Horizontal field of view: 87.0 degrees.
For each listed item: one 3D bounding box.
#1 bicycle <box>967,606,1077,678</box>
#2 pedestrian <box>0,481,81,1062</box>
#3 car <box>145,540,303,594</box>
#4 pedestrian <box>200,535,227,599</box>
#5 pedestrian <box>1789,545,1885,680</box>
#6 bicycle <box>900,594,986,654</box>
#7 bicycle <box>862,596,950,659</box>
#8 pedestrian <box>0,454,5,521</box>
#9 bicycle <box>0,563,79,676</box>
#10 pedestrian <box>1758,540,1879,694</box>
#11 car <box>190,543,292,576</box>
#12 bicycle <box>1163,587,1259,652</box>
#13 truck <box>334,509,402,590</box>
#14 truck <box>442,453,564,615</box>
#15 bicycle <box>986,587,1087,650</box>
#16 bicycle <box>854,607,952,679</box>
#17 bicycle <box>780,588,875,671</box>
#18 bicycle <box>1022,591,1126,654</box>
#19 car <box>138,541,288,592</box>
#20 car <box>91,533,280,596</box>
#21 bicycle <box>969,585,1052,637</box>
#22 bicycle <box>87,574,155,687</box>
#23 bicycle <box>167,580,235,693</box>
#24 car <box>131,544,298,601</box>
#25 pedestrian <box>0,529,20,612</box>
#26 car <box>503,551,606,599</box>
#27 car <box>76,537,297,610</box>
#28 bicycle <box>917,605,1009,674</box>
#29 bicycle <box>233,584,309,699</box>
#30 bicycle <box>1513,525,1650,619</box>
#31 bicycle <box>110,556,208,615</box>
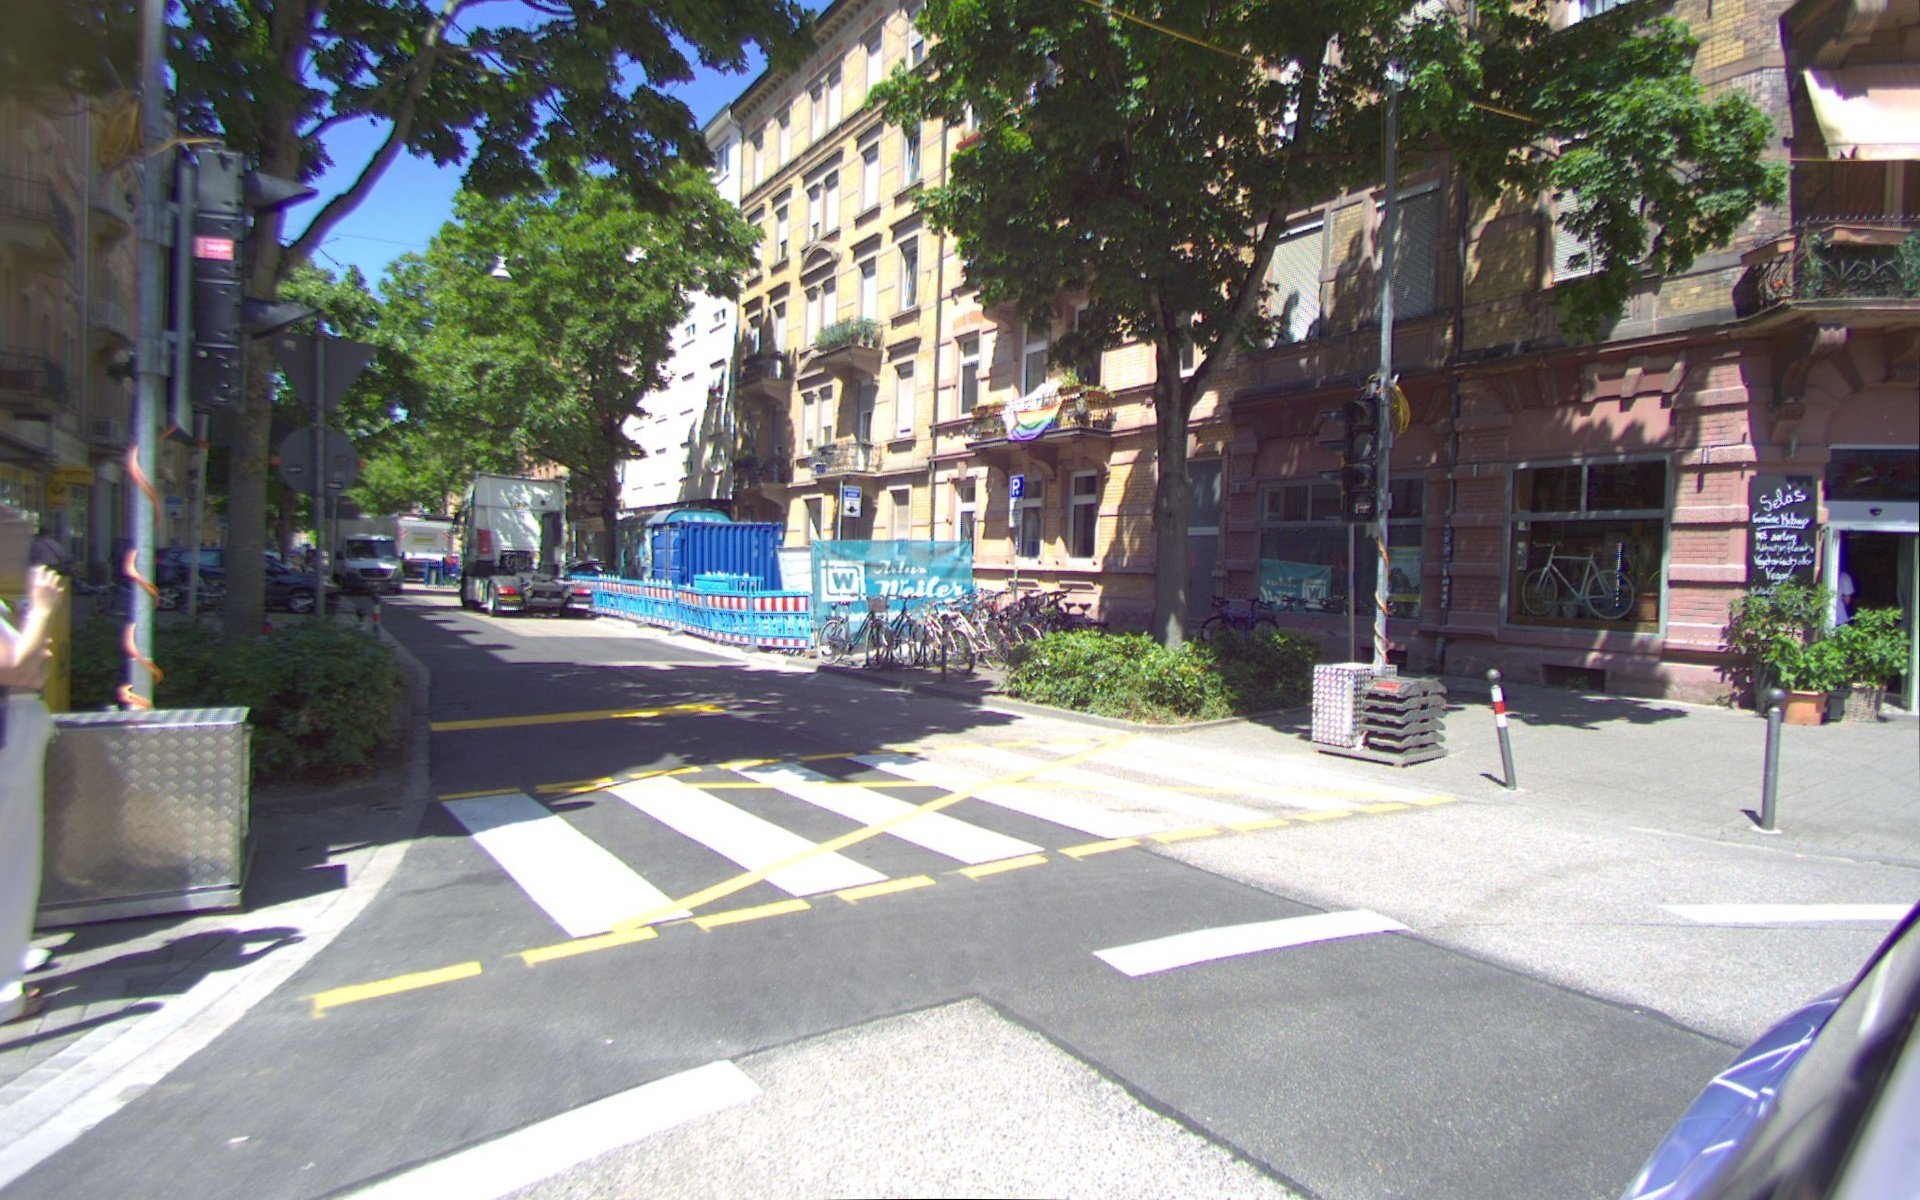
[{"bbox_3d":[0.869,0.585,14.929,0.499,0.882,2.077,1,2,-31],"label":"bicycle"},{"bbox_3d":[-3.040,0.471,3.084,0.415,1.666,0.702,5,0,-43],"label":"pedestrian"},{"bbox_3d":[-22.568,-0.996,31.120,3.782,1.456,1.792,1,2,-38],"label":"car"},{"bbox_3d":[-18.926,-0.839,25.654,0.534,1.602,0.478,1,2,-37],"label":"pedestrian"},{"bbox_3d":[11.698,0.155,13.520,0.712,1.739,0.495,2,3,10],"label":"pedestrian"},{"bbox_3d":[-0.327,0.390,17.505,0.499,0.882,2.077,1,2,-31],"label":"bicycle"},{"bbox_3d":[-0.925,0.418,16.629,0.499,0.882,2.077,1,2,-31],"label":"bicycle"},{"bbox_3d":[-3.704,0.367,3.504,0.463,1.791,0.576,5,-1,-43],"label":"pedestrian"},{"bbox_3d":[-9.196,0.162,10.129,0.462,1.009,1.765,3,1,-39],"label":"bicycle"},{"bbox_3d":[10.705,0.194,12.646,0.926,1.840,0.456,2,4,8],"label":"pedestrian"},{"bbox_3d":[-34.301,-1.928,48.319,3.860,1.482,1.617,0,2,-39],"label":"car"},{"bbox_3d":[4.373,0.312,17.751,0.512,1.020,1.697,1,2,-34],"label":"bicycle"},{"bbox_3d":[-22.745,-1.934,38.799,1.961,2.892,4.271,1,2,-34],"label":"truck"},{"bbox_3d":[-12.535,-1.727,27.605,2.244,4.003,4.480,1,2,-34],"label":"truck"},{"bbox_3d":[1.200,0.274,16.455,0.499,0.882,2.077,1,2,-31],"label":"bicycle"},{"bbox_3d":[-0.880,0.597,14.922,0.499,0.882,2.077,1,2,-31],"label":"bicycle"},{"bbox_3d":[-2.037,0.421,15.360,0.500,1.120,1.782,0,2,-41],"label":"bicycle"},{"bbox_3d":[1.835,0.343,16.629,0.499,0.882,2.077,1,2,-31],"label":"bicycle"},{"bbox_3d":[-24.099,-1.081,32.751,3.782,1.456,1.792,1,2,-38],"label":"car"},{"bbox_3d":[-20.186,-0.922,26.513,3.782,1.456,1.792,1,2,-38],"label":"car"},{"bbox_3d":[0.947,0.199,19.643,0.499,0.882,2.077,1,2,-31],"label":"bicycle"},{"bbox_3d":[-8.579,0.285,10.374,0.462,1.018,1.688,3,1,-39],"label":"bicycle"},{"bbox_3d":[-7.802,0.341,10.376,0.462,1.009,1.765,3,1,-39],"label":"bicycle"},{"bbox_3d":[-21.537,-0.792,29.340,3.782,1.456,1.792,1,2,-38],"label":"car"},{"bbox_3d":[-19.121,-0.588,20.098,0.548,1.634,0.493,1,2,-31],"label":"pedestrian"},{"bbox_3d":[-17.022,-1.031,42.482,3.718,1.894,1.774,1,2,-32],"label":"car"},{"bbox_3d":[-17.257,-0.579,22.738,3.782,1.456,1.792,1,2,-38],"label":"car"},{"bbox_3d":[0.015,0.557,14.963,0.499,0.882,1.747,1,2,-31],"label":"bicycle"},{"bbox_3d":[-7.027,0.383,10.290,0.462,1.009,1.765,3,1,-39],"label":"bicycle"},{"bbox_3d":[8.107,-0.373,13.252,0.500,1.166,1.428,1,2,-33],"label":"bicycle"},{"bbox_3d":[-15.815,-0.300,19.971,1.912,1.058,0.541,3,2,18],"label":"bicycle"}]
